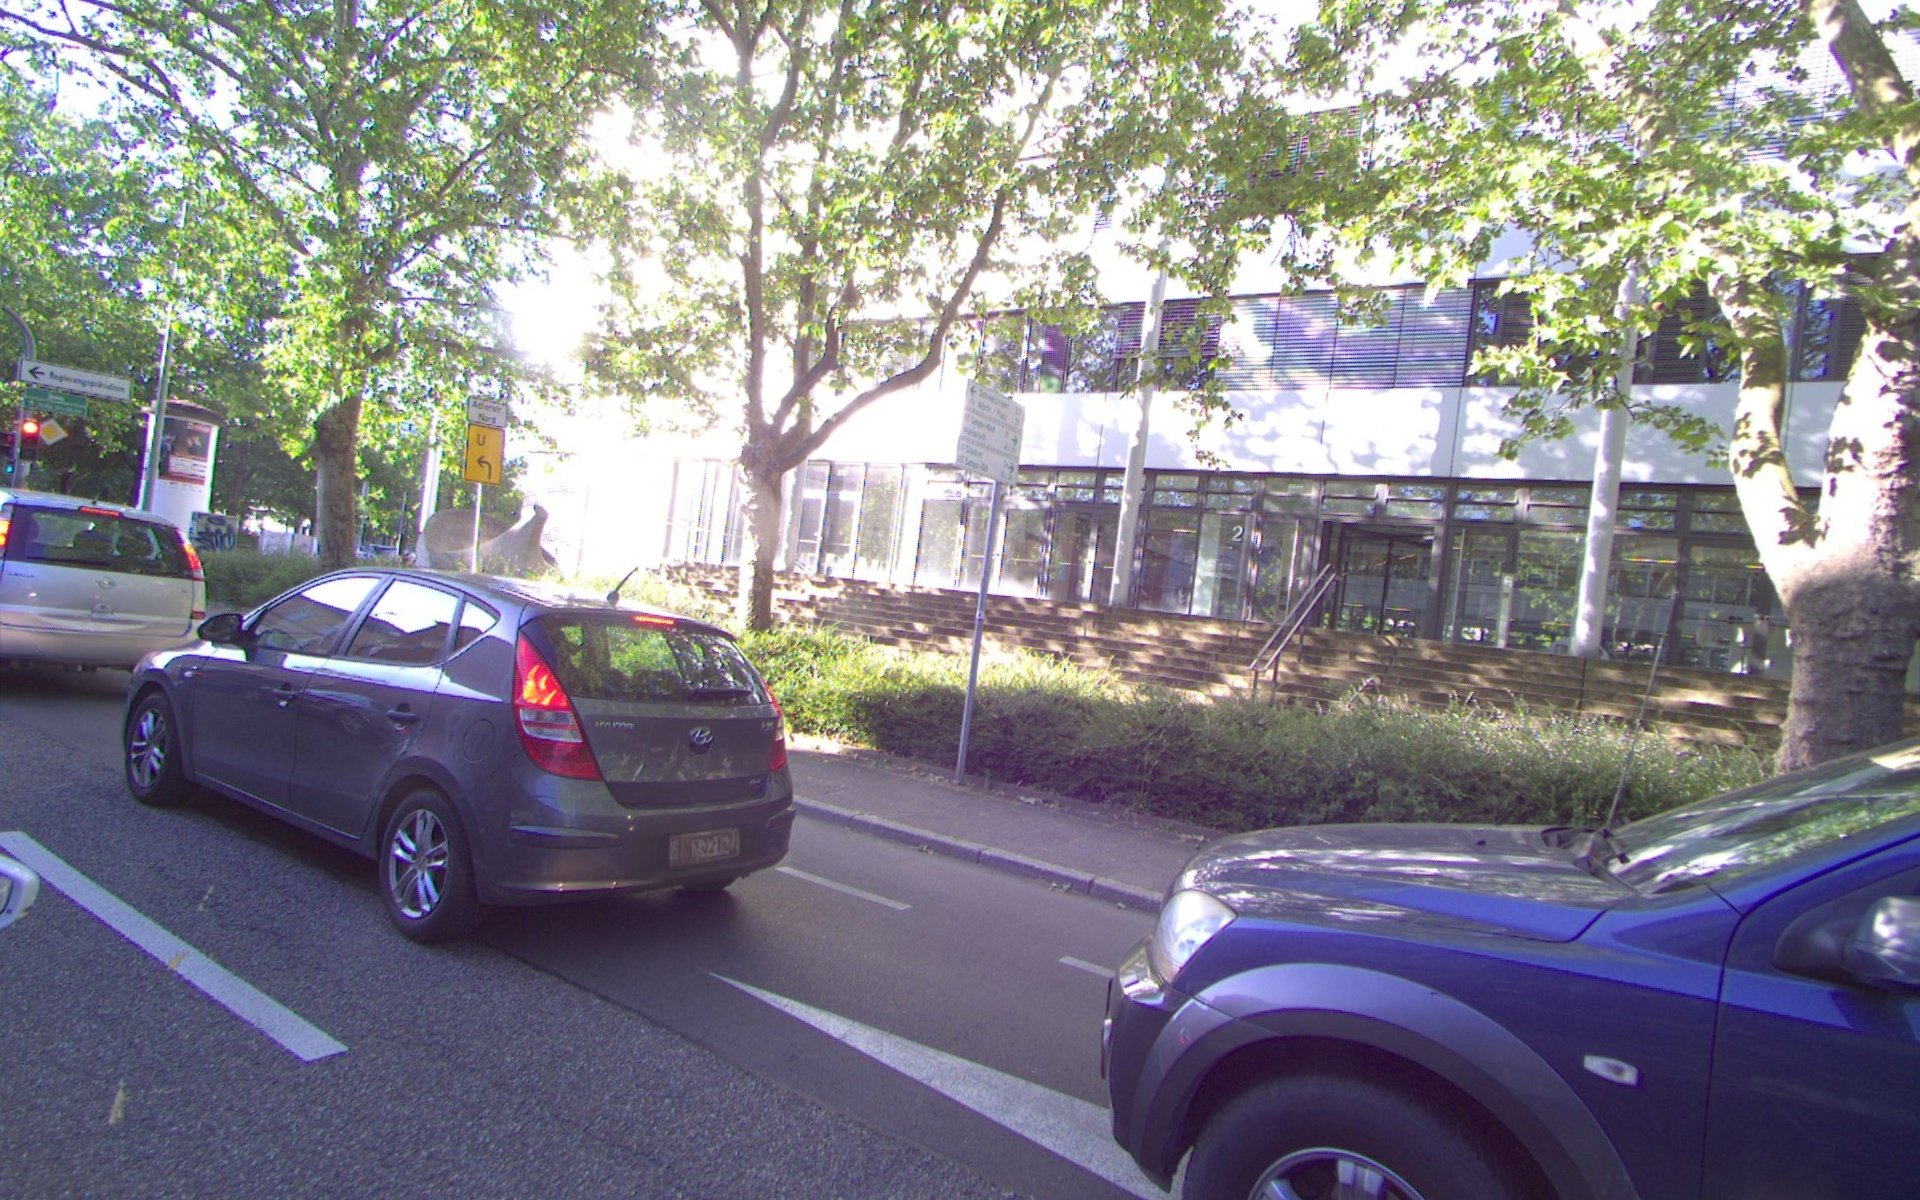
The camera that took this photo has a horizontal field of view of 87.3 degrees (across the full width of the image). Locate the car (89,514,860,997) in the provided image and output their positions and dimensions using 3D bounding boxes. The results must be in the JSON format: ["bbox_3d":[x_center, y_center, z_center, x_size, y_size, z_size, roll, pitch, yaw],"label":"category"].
[{"bbox_3d":[-2.661,0.552,5.270,3.910,1.498,1.648,7,-3,32],"label":"car"}]

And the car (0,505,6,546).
[{"bbox_3d":[-14.106,-0.739,12.601,4.592,1.481,1.917,7,-2,32],"label":"car"}]

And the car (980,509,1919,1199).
[{"bbox_3d":[2.416,0.982,2.001,4.313,1.790,1.784,7,-3,33],"label":"car"}]

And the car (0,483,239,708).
[{"bbox_3d":[-8.389,-0.153,9.054,3.797,1.620,1.705,7,-3,34],"label":"car"}]
